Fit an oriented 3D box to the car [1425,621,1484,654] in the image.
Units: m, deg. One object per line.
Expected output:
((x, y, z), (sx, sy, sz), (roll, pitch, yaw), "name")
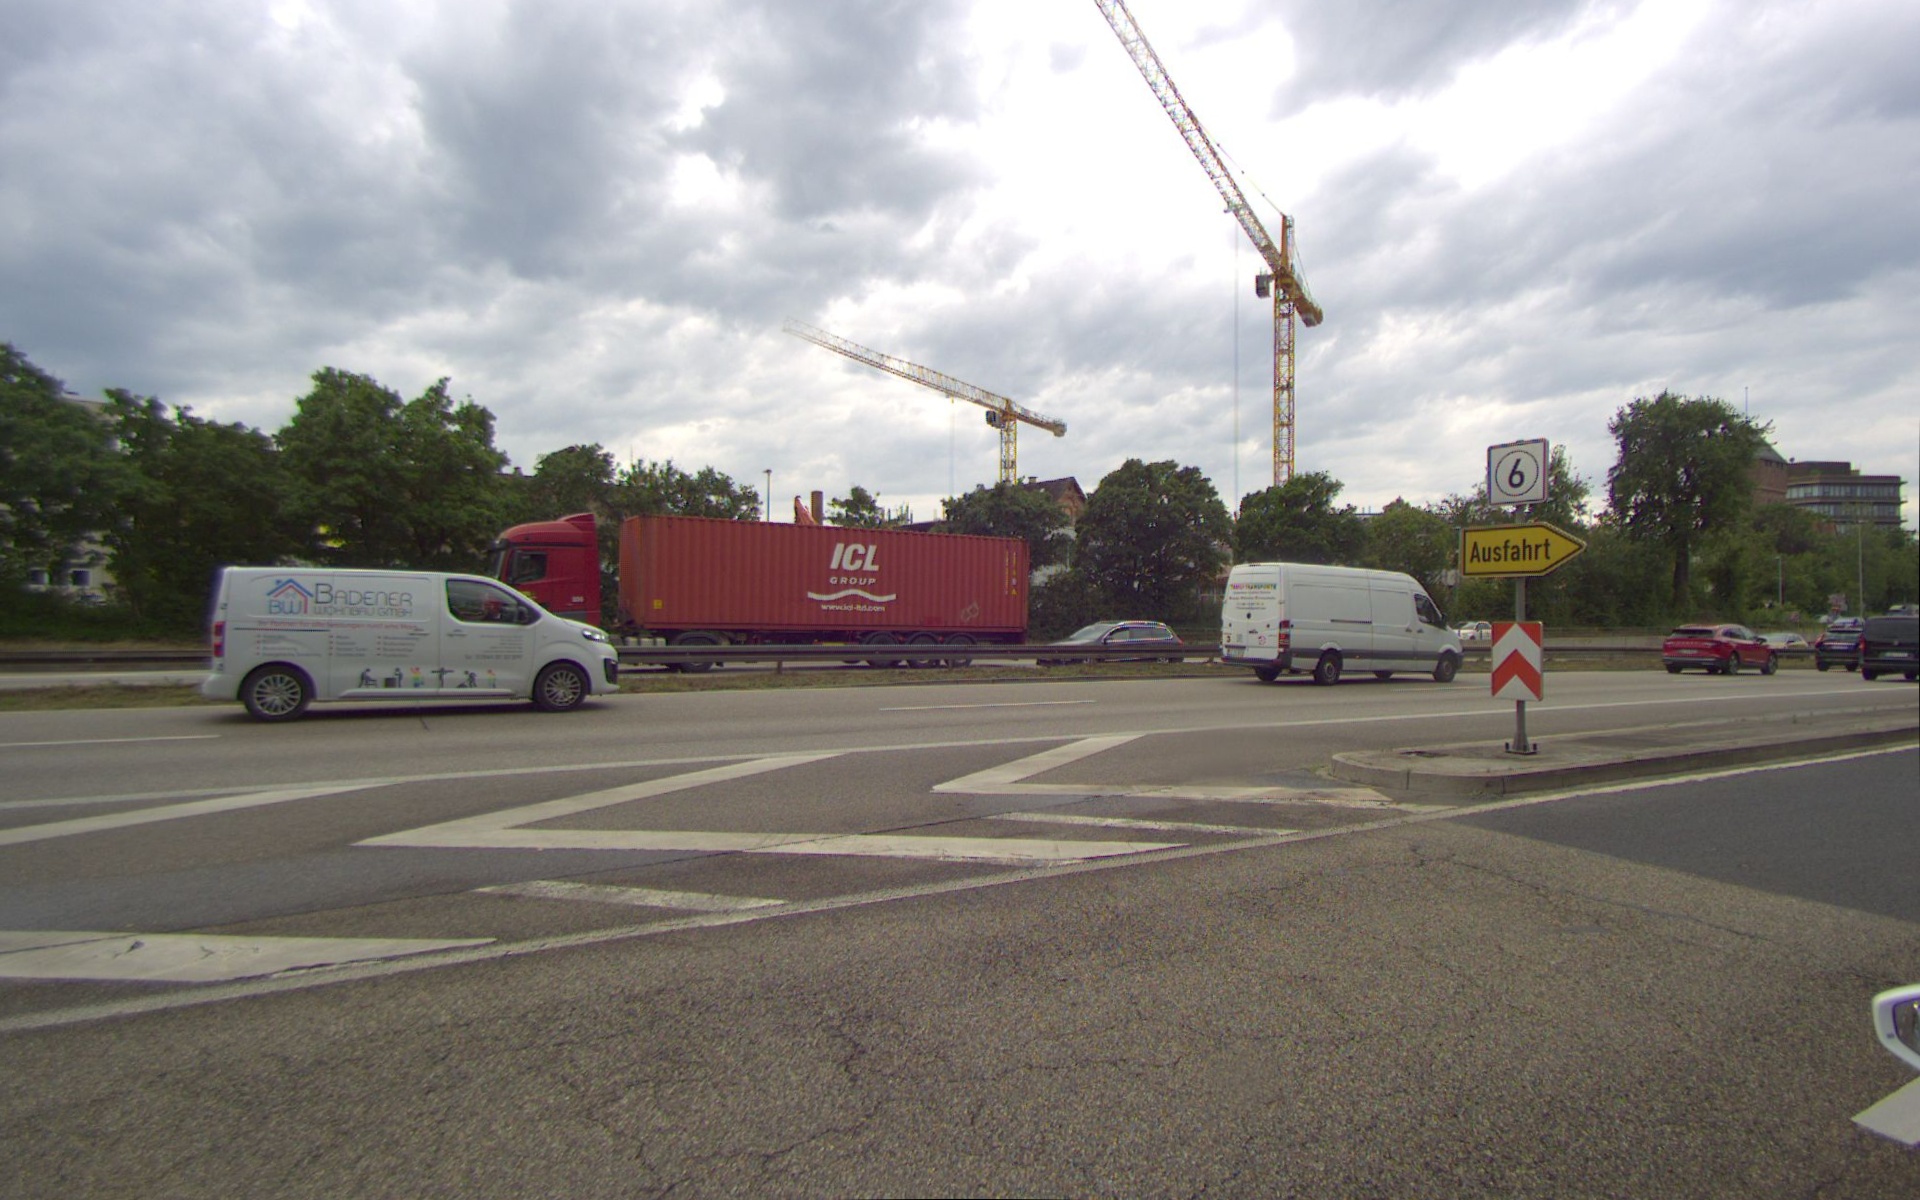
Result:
((29.215, 2.218, 59.328), (3.582, 1.863, 1.547), (1, -1, -33), "car")

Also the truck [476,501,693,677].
((-9.690, -0.207, 25.950), (4.850, 4.118, 2.750), (1, -1, -31), "truck")

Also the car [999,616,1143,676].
((3.179, 1.273, 28.526), (3.954, 1.613, 1.588), (1, -1, -31), "car")

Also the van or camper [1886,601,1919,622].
((128.108, 1.613, 134.606), (5.550, 2.672, 1.921), (2, 1, 19), "van or camper")

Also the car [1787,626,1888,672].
((34.821, 1.893, 39.833), (4.258, 1.704, 1.880), (1, -1, -32), "car")

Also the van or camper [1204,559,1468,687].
((8.969, 0.555, 23.626), (6.877, 2.656, 2.039), (1, -1, -31), "van or camper")

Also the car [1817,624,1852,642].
((78.413, 2.929, 90.054), (3.331, 1.545, 1.340), (1, -1, -31), "car")

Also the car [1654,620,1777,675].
((24.780, 1.528, 32.906), (4.217, 1.657, 1.743), (1, -1, -30), "car")

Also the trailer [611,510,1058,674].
((-3.245, -0.074, 29.838), (13.198, 4.118, 2.751), (1, -1, -31), "trailer")

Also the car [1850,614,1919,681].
((28.875, 1.383, 30.154), (4.758, 1.876, 1.983), (1, -1, -32), "car")

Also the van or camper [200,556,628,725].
((-7.209, 0.523, 13.662), (4.798, 1.945, 1.909), (1, -1, -33), "van or camper")

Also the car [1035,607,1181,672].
((4.296, 1.111, 28.951), (3.954, 1.742, 1.765), (1, -1, -31), "car")
